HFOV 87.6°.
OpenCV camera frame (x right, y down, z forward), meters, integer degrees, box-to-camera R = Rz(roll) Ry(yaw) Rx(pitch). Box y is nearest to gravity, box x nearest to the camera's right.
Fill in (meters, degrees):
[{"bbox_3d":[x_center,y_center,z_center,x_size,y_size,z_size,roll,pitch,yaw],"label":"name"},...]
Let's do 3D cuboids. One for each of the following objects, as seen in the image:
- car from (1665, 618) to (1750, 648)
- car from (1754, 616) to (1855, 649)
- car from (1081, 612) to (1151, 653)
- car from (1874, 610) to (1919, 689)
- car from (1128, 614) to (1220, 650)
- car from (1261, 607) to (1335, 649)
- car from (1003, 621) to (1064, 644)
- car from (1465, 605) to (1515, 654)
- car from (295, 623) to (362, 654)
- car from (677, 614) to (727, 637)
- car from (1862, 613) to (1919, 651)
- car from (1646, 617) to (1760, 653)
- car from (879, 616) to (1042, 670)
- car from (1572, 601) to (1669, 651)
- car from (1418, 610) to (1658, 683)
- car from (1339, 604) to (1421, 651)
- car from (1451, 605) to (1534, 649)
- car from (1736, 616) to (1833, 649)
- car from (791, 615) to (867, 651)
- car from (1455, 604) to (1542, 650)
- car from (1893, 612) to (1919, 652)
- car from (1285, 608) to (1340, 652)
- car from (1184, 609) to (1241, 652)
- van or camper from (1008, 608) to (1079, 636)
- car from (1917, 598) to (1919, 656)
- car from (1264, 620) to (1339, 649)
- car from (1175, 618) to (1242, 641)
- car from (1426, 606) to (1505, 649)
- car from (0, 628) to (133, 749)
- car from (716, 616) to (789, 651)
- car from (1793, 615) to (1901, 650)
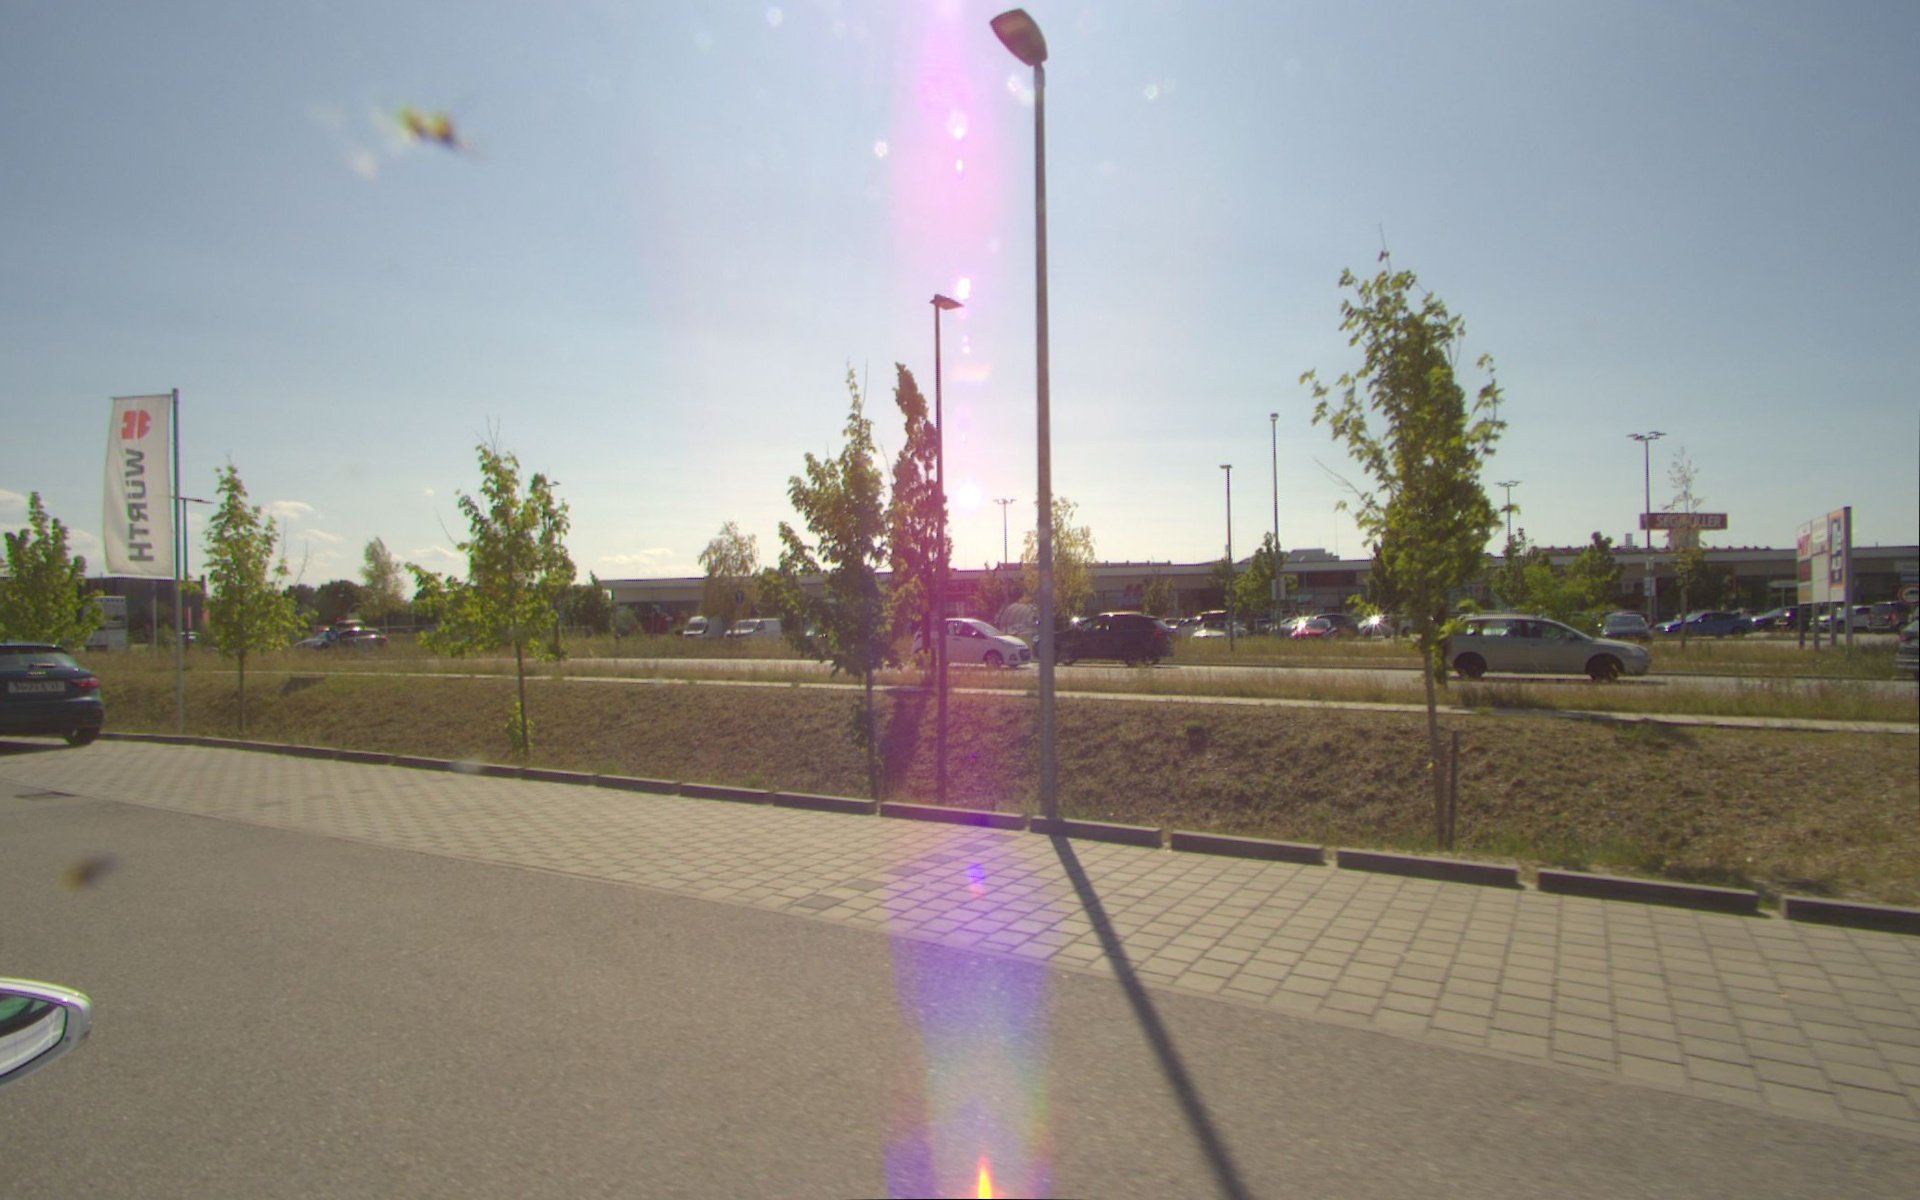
[{"bbox_3d":[53.114,2.350,71.209,4.399,2.064,2.000,0,-2,11],"label":"car"},{"bbox_3d":[53.127,2.056,63.083,4.399,2.064,2.000,0,-2,11],"label":"car"},{"bbox_3d":[8.261,1.669,52.614,2.130,2.039,5.098,-1,-1,27],"label":"car"},{"bbox_3d":[21.285,0.969,19.626,4.669,1.571,1.947,0,-2,9],"label":"car"},{"bbox_3d":[12.602,1.901,59.281,2.142,2.039,5.070,0,-2,-42],"label":"car"},{"bbox_3d":[22.978,1.913,68.181,4.397,2.857,2.001,0,-1,5],"label":"car"},{"bbox_3d":[5.003,2.195,68.080,3.925,1.527,1.874,-1,-2,12],"label":"car"},{"bbox_3d":[23.210,1.264,43.809,1.854,2.040,4.254,-1,-1,29],"label":"car"},{"bbox_3d":[-32.383,1.963,51.451,1.965,1.536,4.189,0,-2,-19],"label":"car"},{"bbox_3d":[-23.773,2.363,92.528,2.186,2.002,6.697,-1,-2,6],"label":"car"},{"bbox_3d":[52.603,1.758,54.797,4.399,2.064,2.000,0,-2,11],"label":"car"},{"bbox_3d":[38.239,1.805,51.626,4.233,1.807,2.000,0,-2,11],"label":"car"},{"bbox_3d":[-0.004,1.309,30.909,4.688,1.571,1.939,-1,-2,29],"label":"car"},{"bbox_3d":[39.178,1.561,59.484,4.397,2.857,2.001,0,-1,5],"label":"car"},{"bbox_3d":[13.442,1.069,23.503,4.693,1.571,1.937,-1,-2,32],"label":"car"},{"bbox_3d":[26.169,1.696,62.388,4.403,2.857,1.998,0,-1,-14],"label":"car"},{"bbox_3d":[35.000,1.804,65.940,4.399,2.857,2.000,0,-1,11],"label":"car"},{"bbox_3d":[53.796,2.139,65.407,4.399,2.064,2.000,0,-2,11],"label":"car"},{"bbox_3d":[-7.702,1.950,59.357,2.129,2.039,5.101,-1,-1,24],"label":"car"},{"bbox_3d":[33.920,1.706,63.157,4.399,2.857,2.000,0,-1,11],"label":"car"},{"bbox_3d":[52.137,1.673,52.426,4.399,2.064,2.000,0,-2,11],"label":"car"},{"bbox_3d":[16.990,1.425,48.122,1.854,2.040,4.121,-1,-1,29],"label":"car"},{"bbox_3d":[12.766,1.515,50.470,1.913,2.040,4.394,-1,-1,27],"label":"car"},{"bbox_3d":[6.122,1.602,73.393,4.957,2.040,1.999,0,-1,13],"label":"van or camper"},{"bbox_3d":[38.894,1.009,38.072,4.411,2.214,1.995,1,-2,-22],"label":"car"},{"bbox_3d":[22.261,2.252,65.442,4.399,1.887,2.000,0,-2,11],"label":"car"},{"bbox_3d":[16.408,1.957,66.309,4.268,1.539,1.655,-1,-2,13],"label":"car"},{"bbox_3d":[34.616,1.906,68.713,4.399,2.857,2.000,0,-1,11],"label":"car"},{"bbox_3d":[-13.432,1.115,13.528,4.156,1.468,1.841,-1,-1,24],"label":"car"},{"bbox_3d":[-12.563,2.019,61.048,2.050,2.039,5.221,-1,-1,18],"label":"car"},{"bbox_3d":[53.068,1.944,59.969,4.399,2.064,2.000,0,-2,11],"label":"car"}]
